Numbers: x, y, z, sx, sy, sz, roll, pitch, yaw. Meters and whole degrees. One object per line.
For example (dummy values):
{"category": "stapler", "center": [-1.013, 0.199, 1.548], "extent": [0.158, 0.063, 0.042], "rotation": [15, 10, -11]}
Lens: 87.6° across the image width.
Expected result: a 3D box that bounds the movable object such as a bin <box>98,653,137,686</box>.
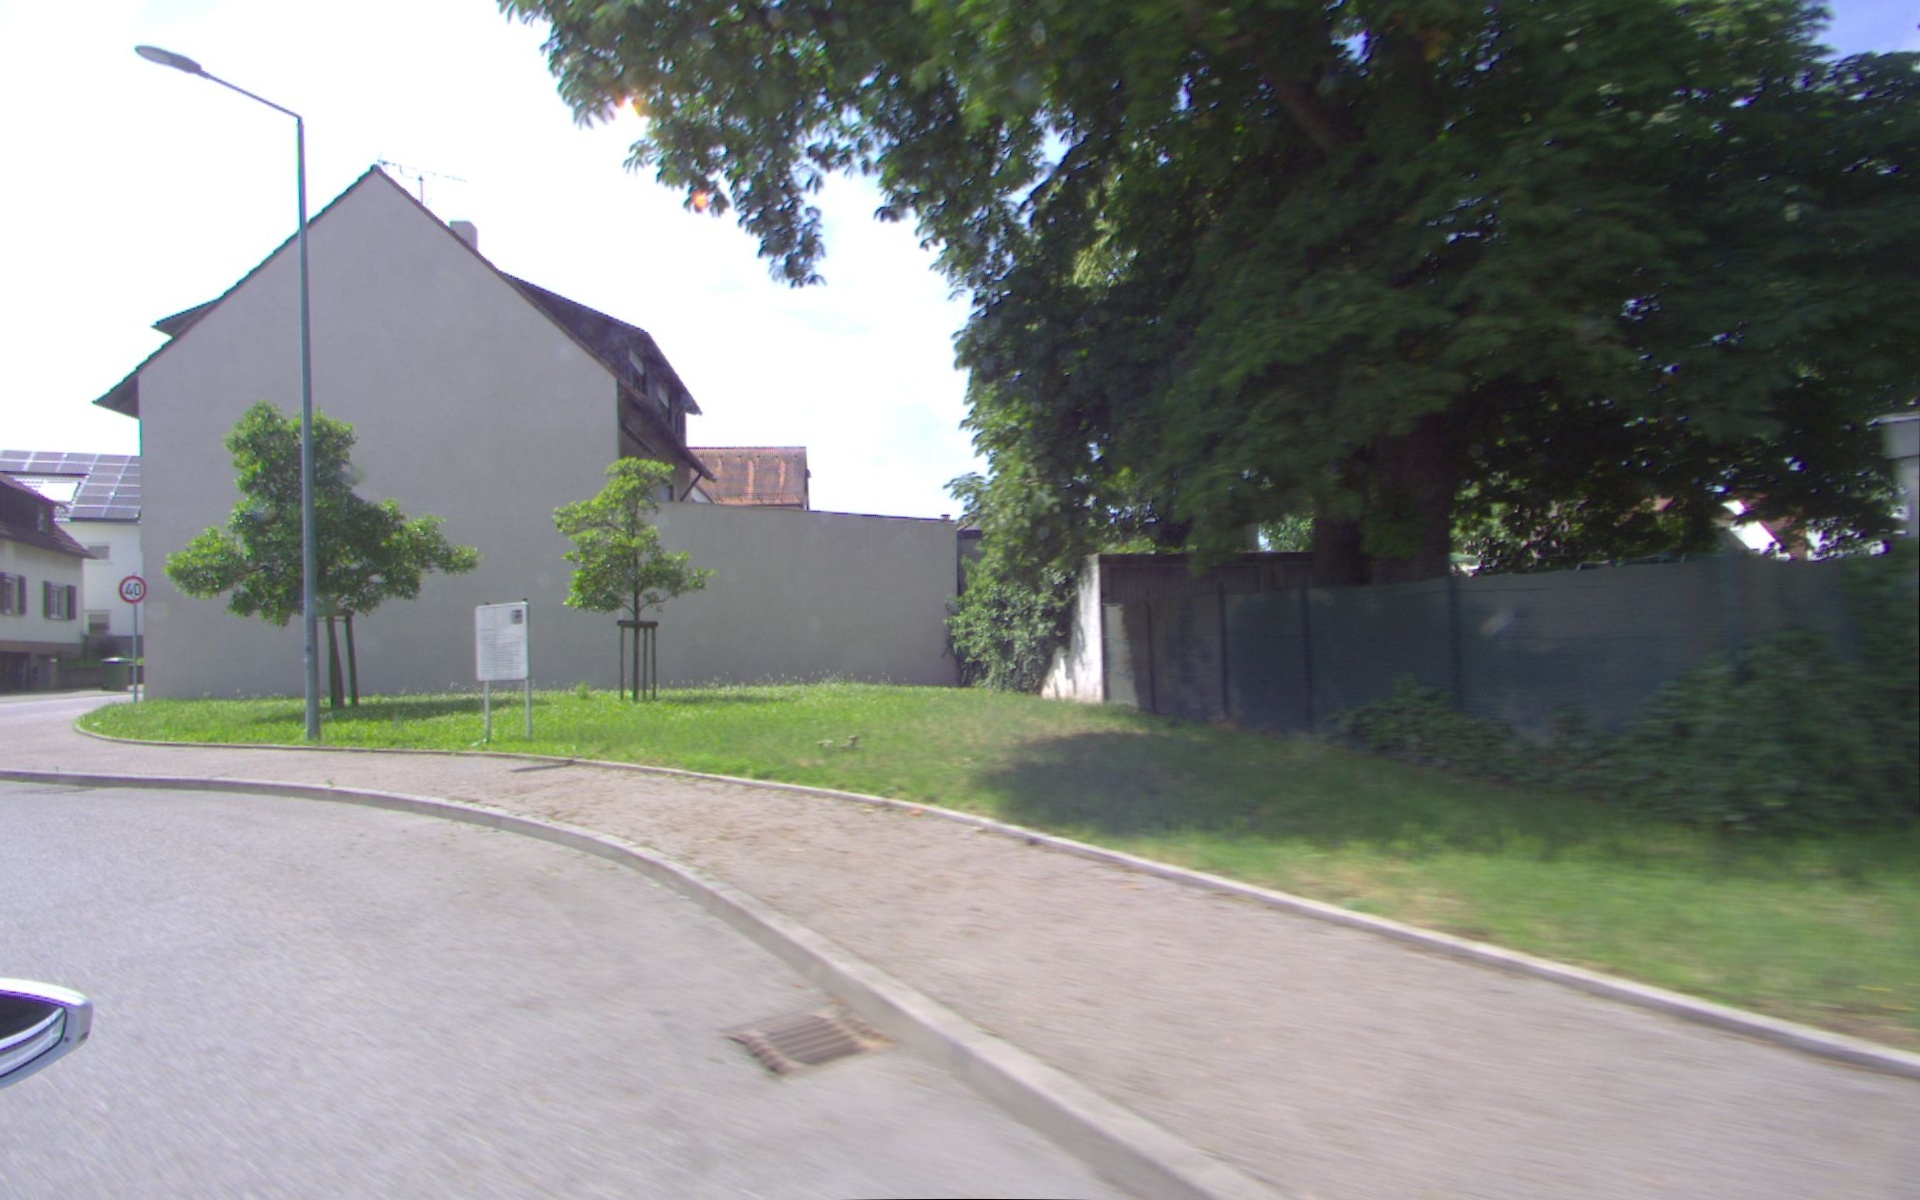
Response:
{"category": "movable object such as a bin", "center": [-28.254, 2.327, 33.589], "extent": [0.779, 1.071, 0.650], "rotation": [-1, -1, -11]}
